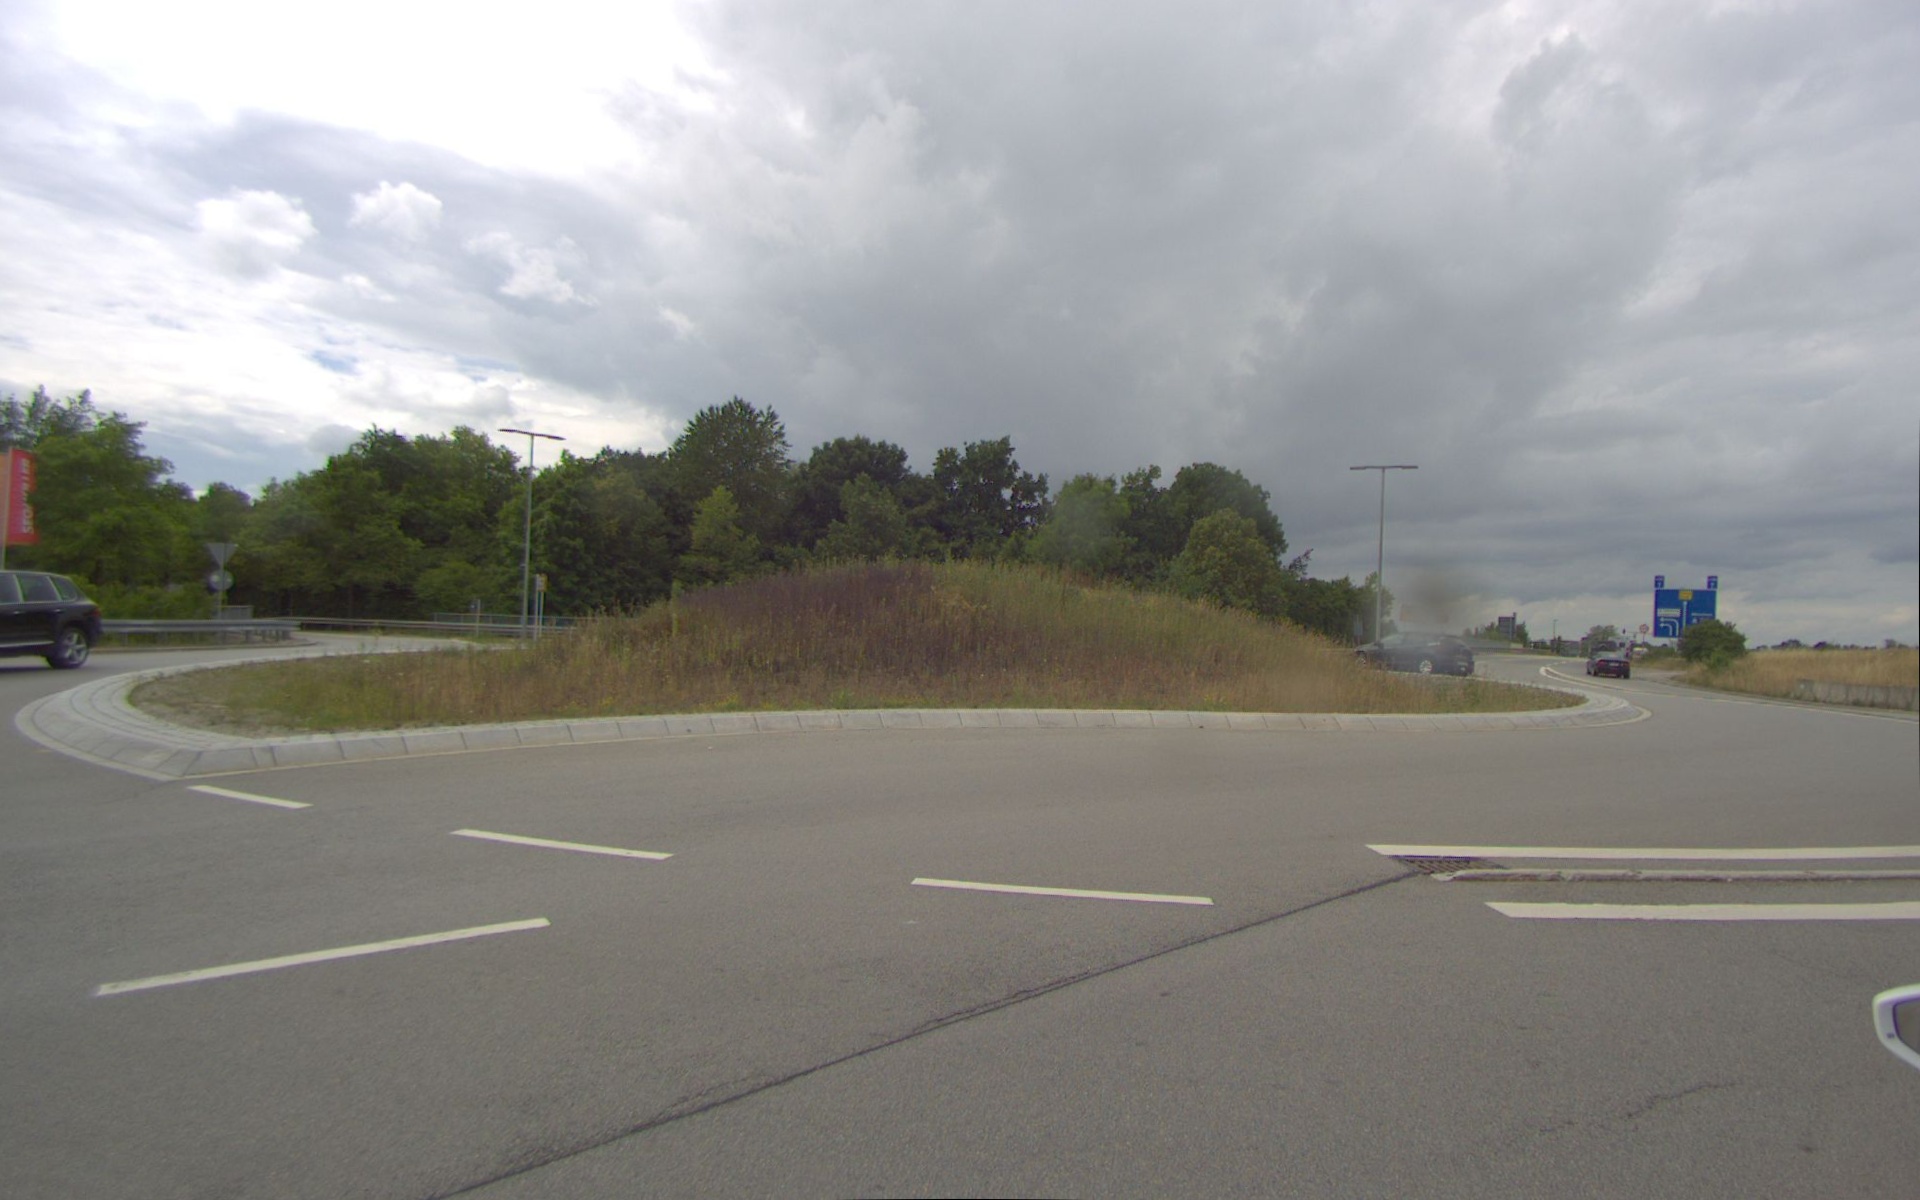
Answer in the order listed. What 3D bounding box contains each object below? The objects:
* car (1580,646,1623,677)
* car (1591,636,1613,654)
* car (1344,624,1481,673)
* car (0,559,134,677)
[{"bbox_3d":[34.376,3.287,53.890,1.495,1.505,3.612,3,-1,27],"label":"car"},{"bbox_3d":[61.144,4.301,95.712,1.575,1.569,4.038,1,0,30],"label":"car"},{"bbox_3d":[14.558,1.539,32.548,1.644,1.396,3.977,1,0,-23],"label":"car"},{"bbox_3d":[-16.509,0.263,16.504,2.066,1.815,5.045,3,1,-7],"label":"car"}]
